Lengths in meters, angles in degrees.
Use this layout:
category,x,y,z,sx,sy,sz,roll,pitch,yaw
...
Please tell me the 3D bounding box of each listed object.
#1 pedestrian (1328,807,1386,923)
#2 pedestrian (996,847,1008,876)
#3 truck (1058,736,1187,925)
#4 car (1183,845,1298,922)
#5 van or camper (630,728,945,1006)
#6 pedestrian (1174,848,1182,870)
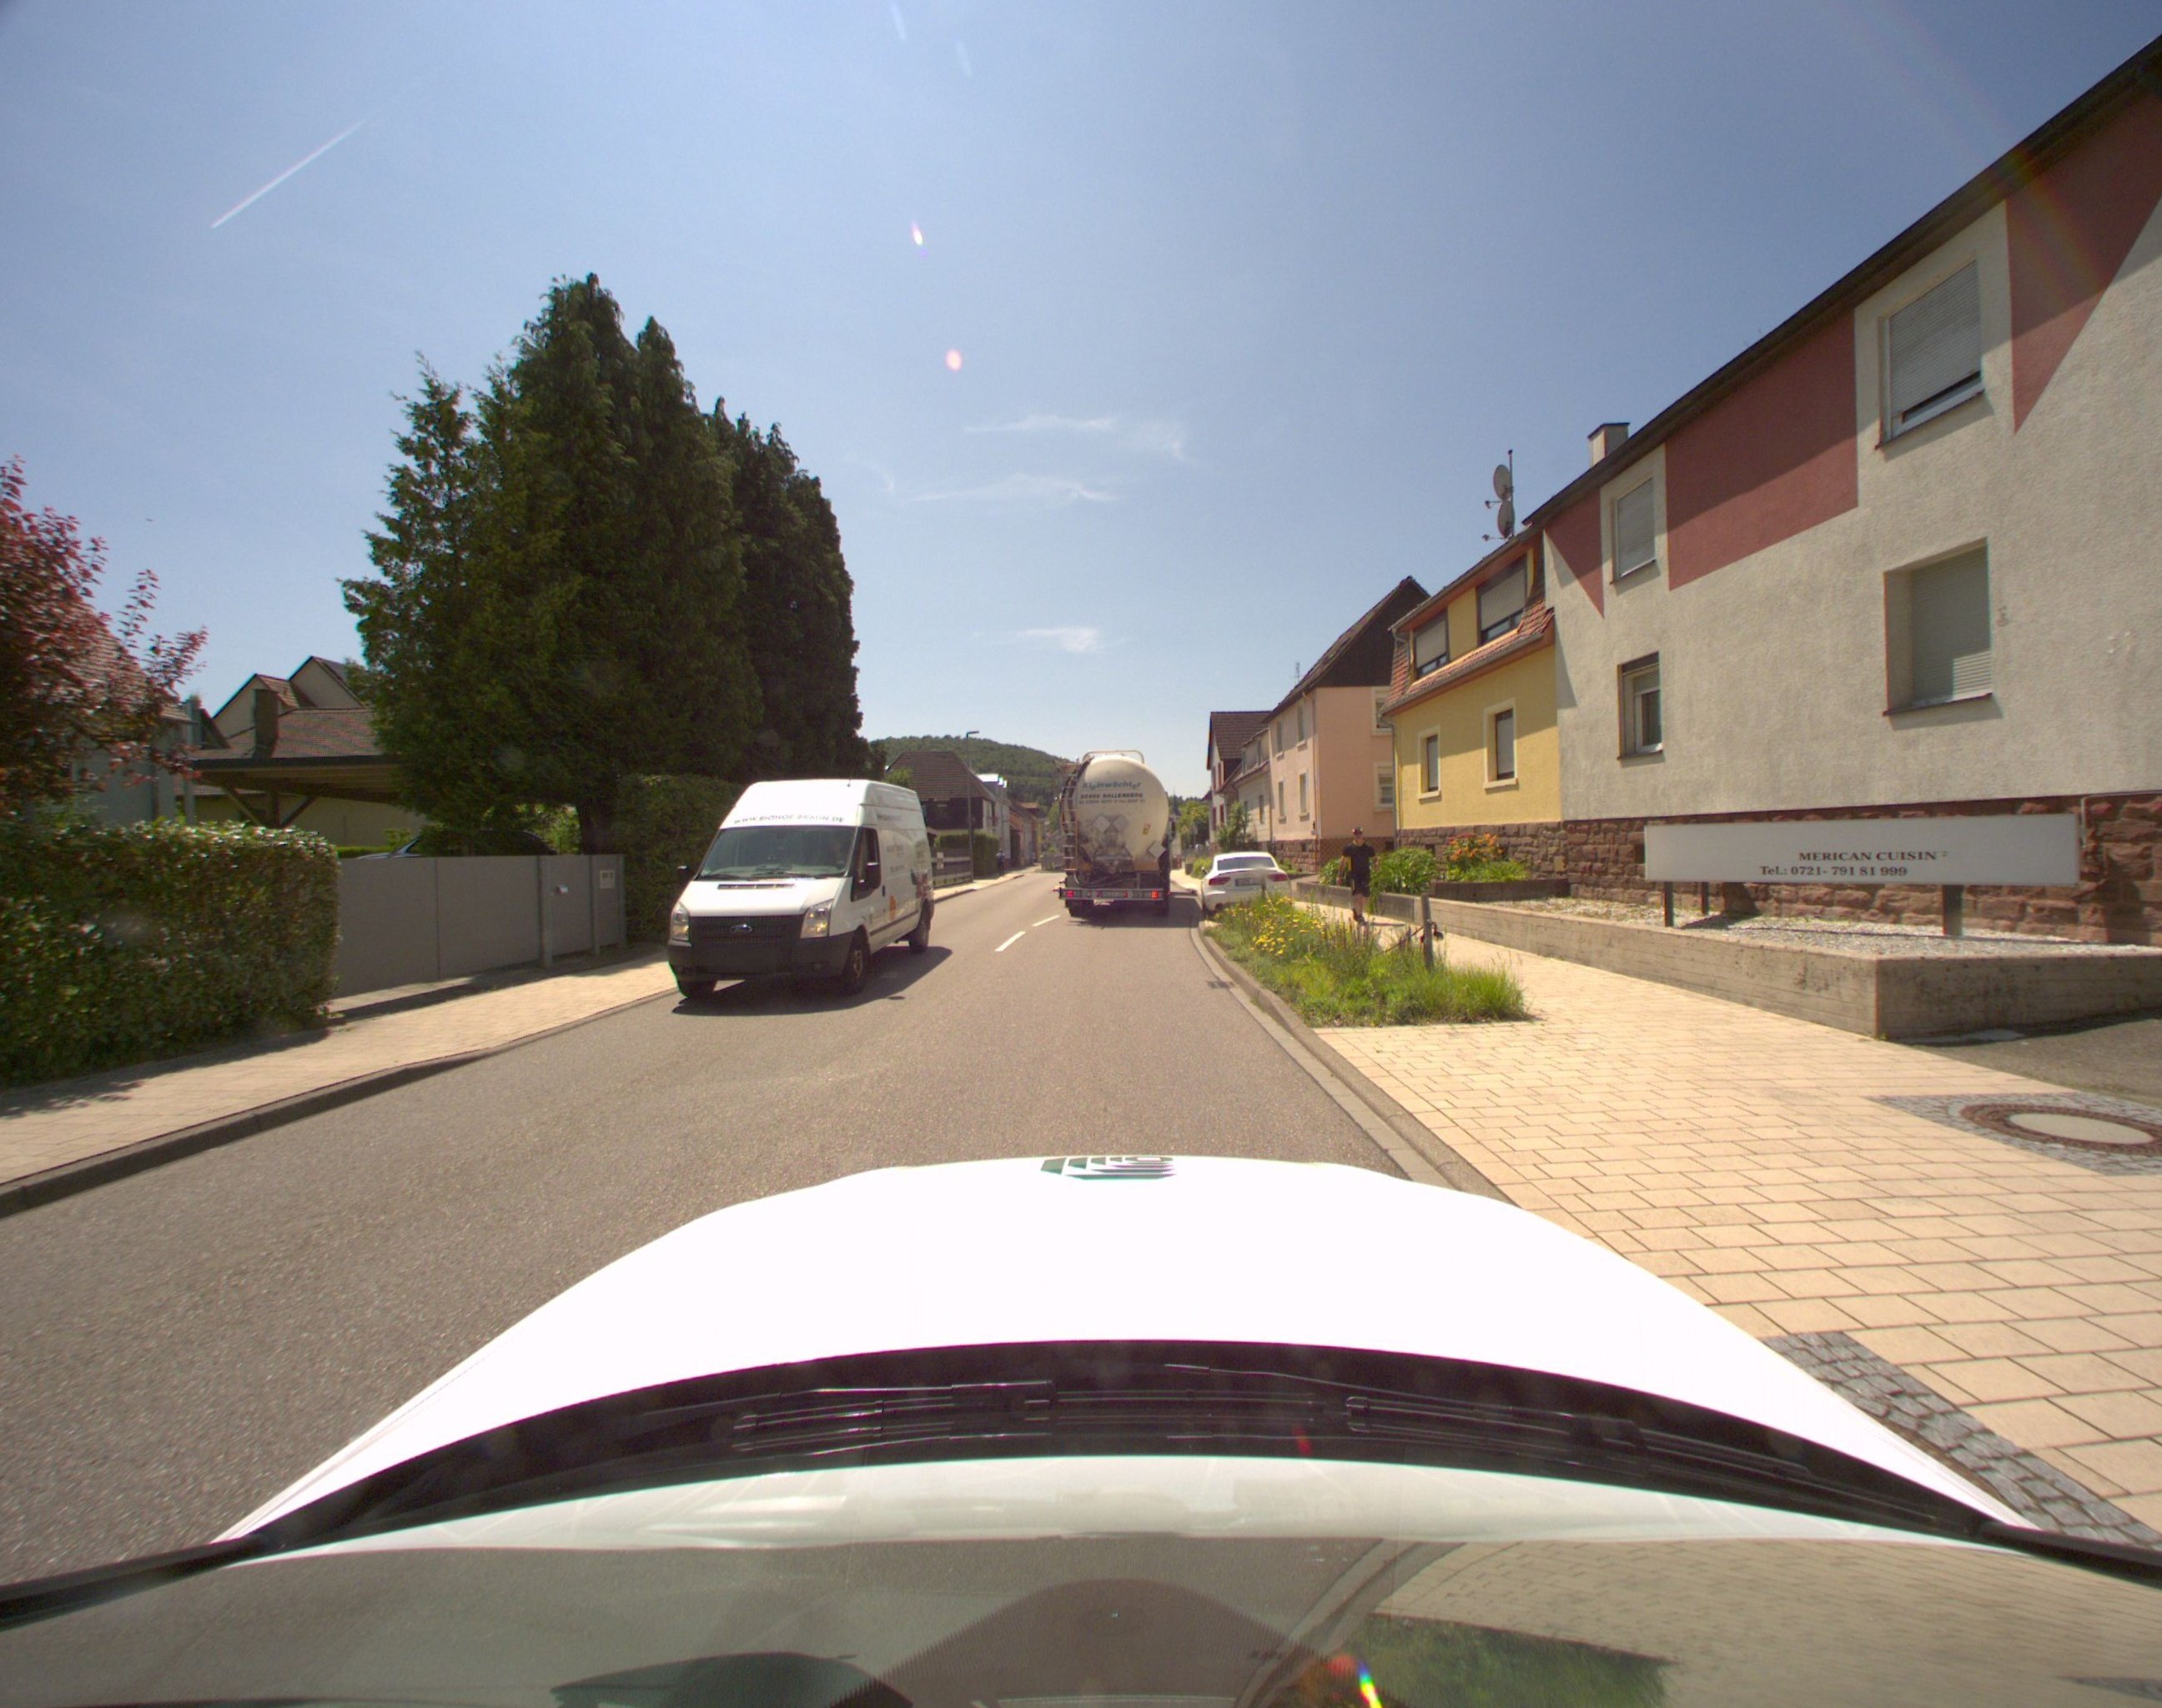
category,x,y,z,sx,sy,sz,roll,pitch,yaw
pedestrian,4.966,0.197,14.705,0.743,2.014,1.034,0,-1,2
pedestrian,-5.087,0.480,52.319,0.710,1.823,0.897,0,-1,-3
truck,0.961,-0.517,23.061,2.741,4.057,10.889,0,0,1
car,3.444,0.650,18.408,1.750,1.418,4.634,-3,-2,2
van or camper,-3.421,0.168,11.043,2.031,2.713,5.824,-2,-1,1
pedestrian,7.481,0.364,62.772,0.568,1.694,0.722,0,-1,5
